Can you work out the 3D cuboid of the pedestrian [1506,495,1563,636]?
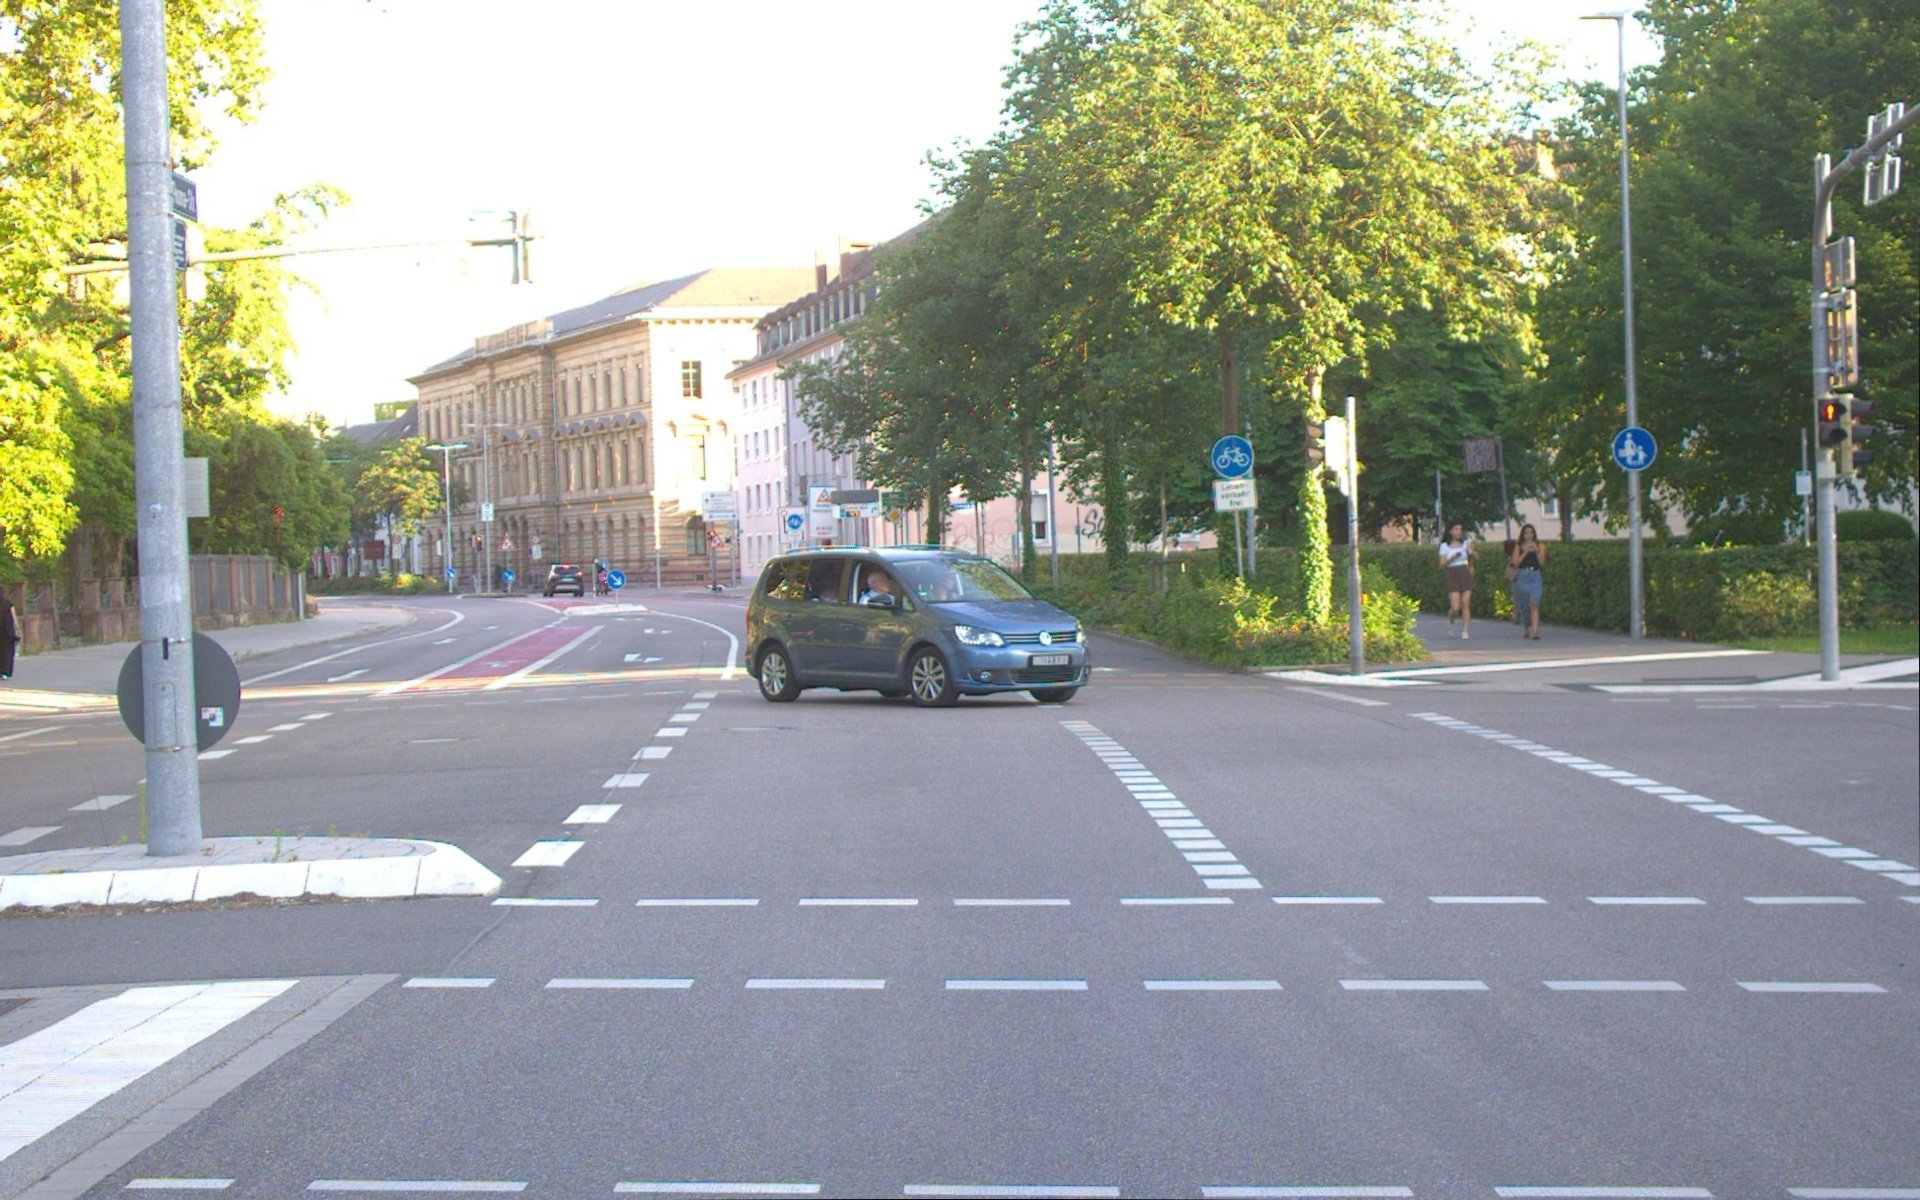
[{"bbox_3d":[8.214,-0.496,49.156,0.635,2.007,0.720,-1,1,-4],"label":"pedestrian"}]

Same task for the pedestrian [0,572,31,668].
[{"bbox_3d":[-15.755,0.329,56.806,0.599,1.568,0.646,-2,1,-1],"label":"pedestrian"}]

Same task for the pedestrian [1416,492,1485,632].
[{"bbox_3d":[7.111,-0.546,49.844,0.870,2.007,0.722,0,1,-1],"label":"pedestrian"}]

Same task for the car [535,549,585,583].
[{"bbox_3d":[-19.757,-1.658,169.698,1.819,1.583,4.001,-3,1,-14],"label":"car"}]

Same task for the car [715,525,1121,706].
[{"bbox_3d":[-0.493,0.145,35.435,1.850,1.714,4.294,-2,1,-40],"label":"car"}]
